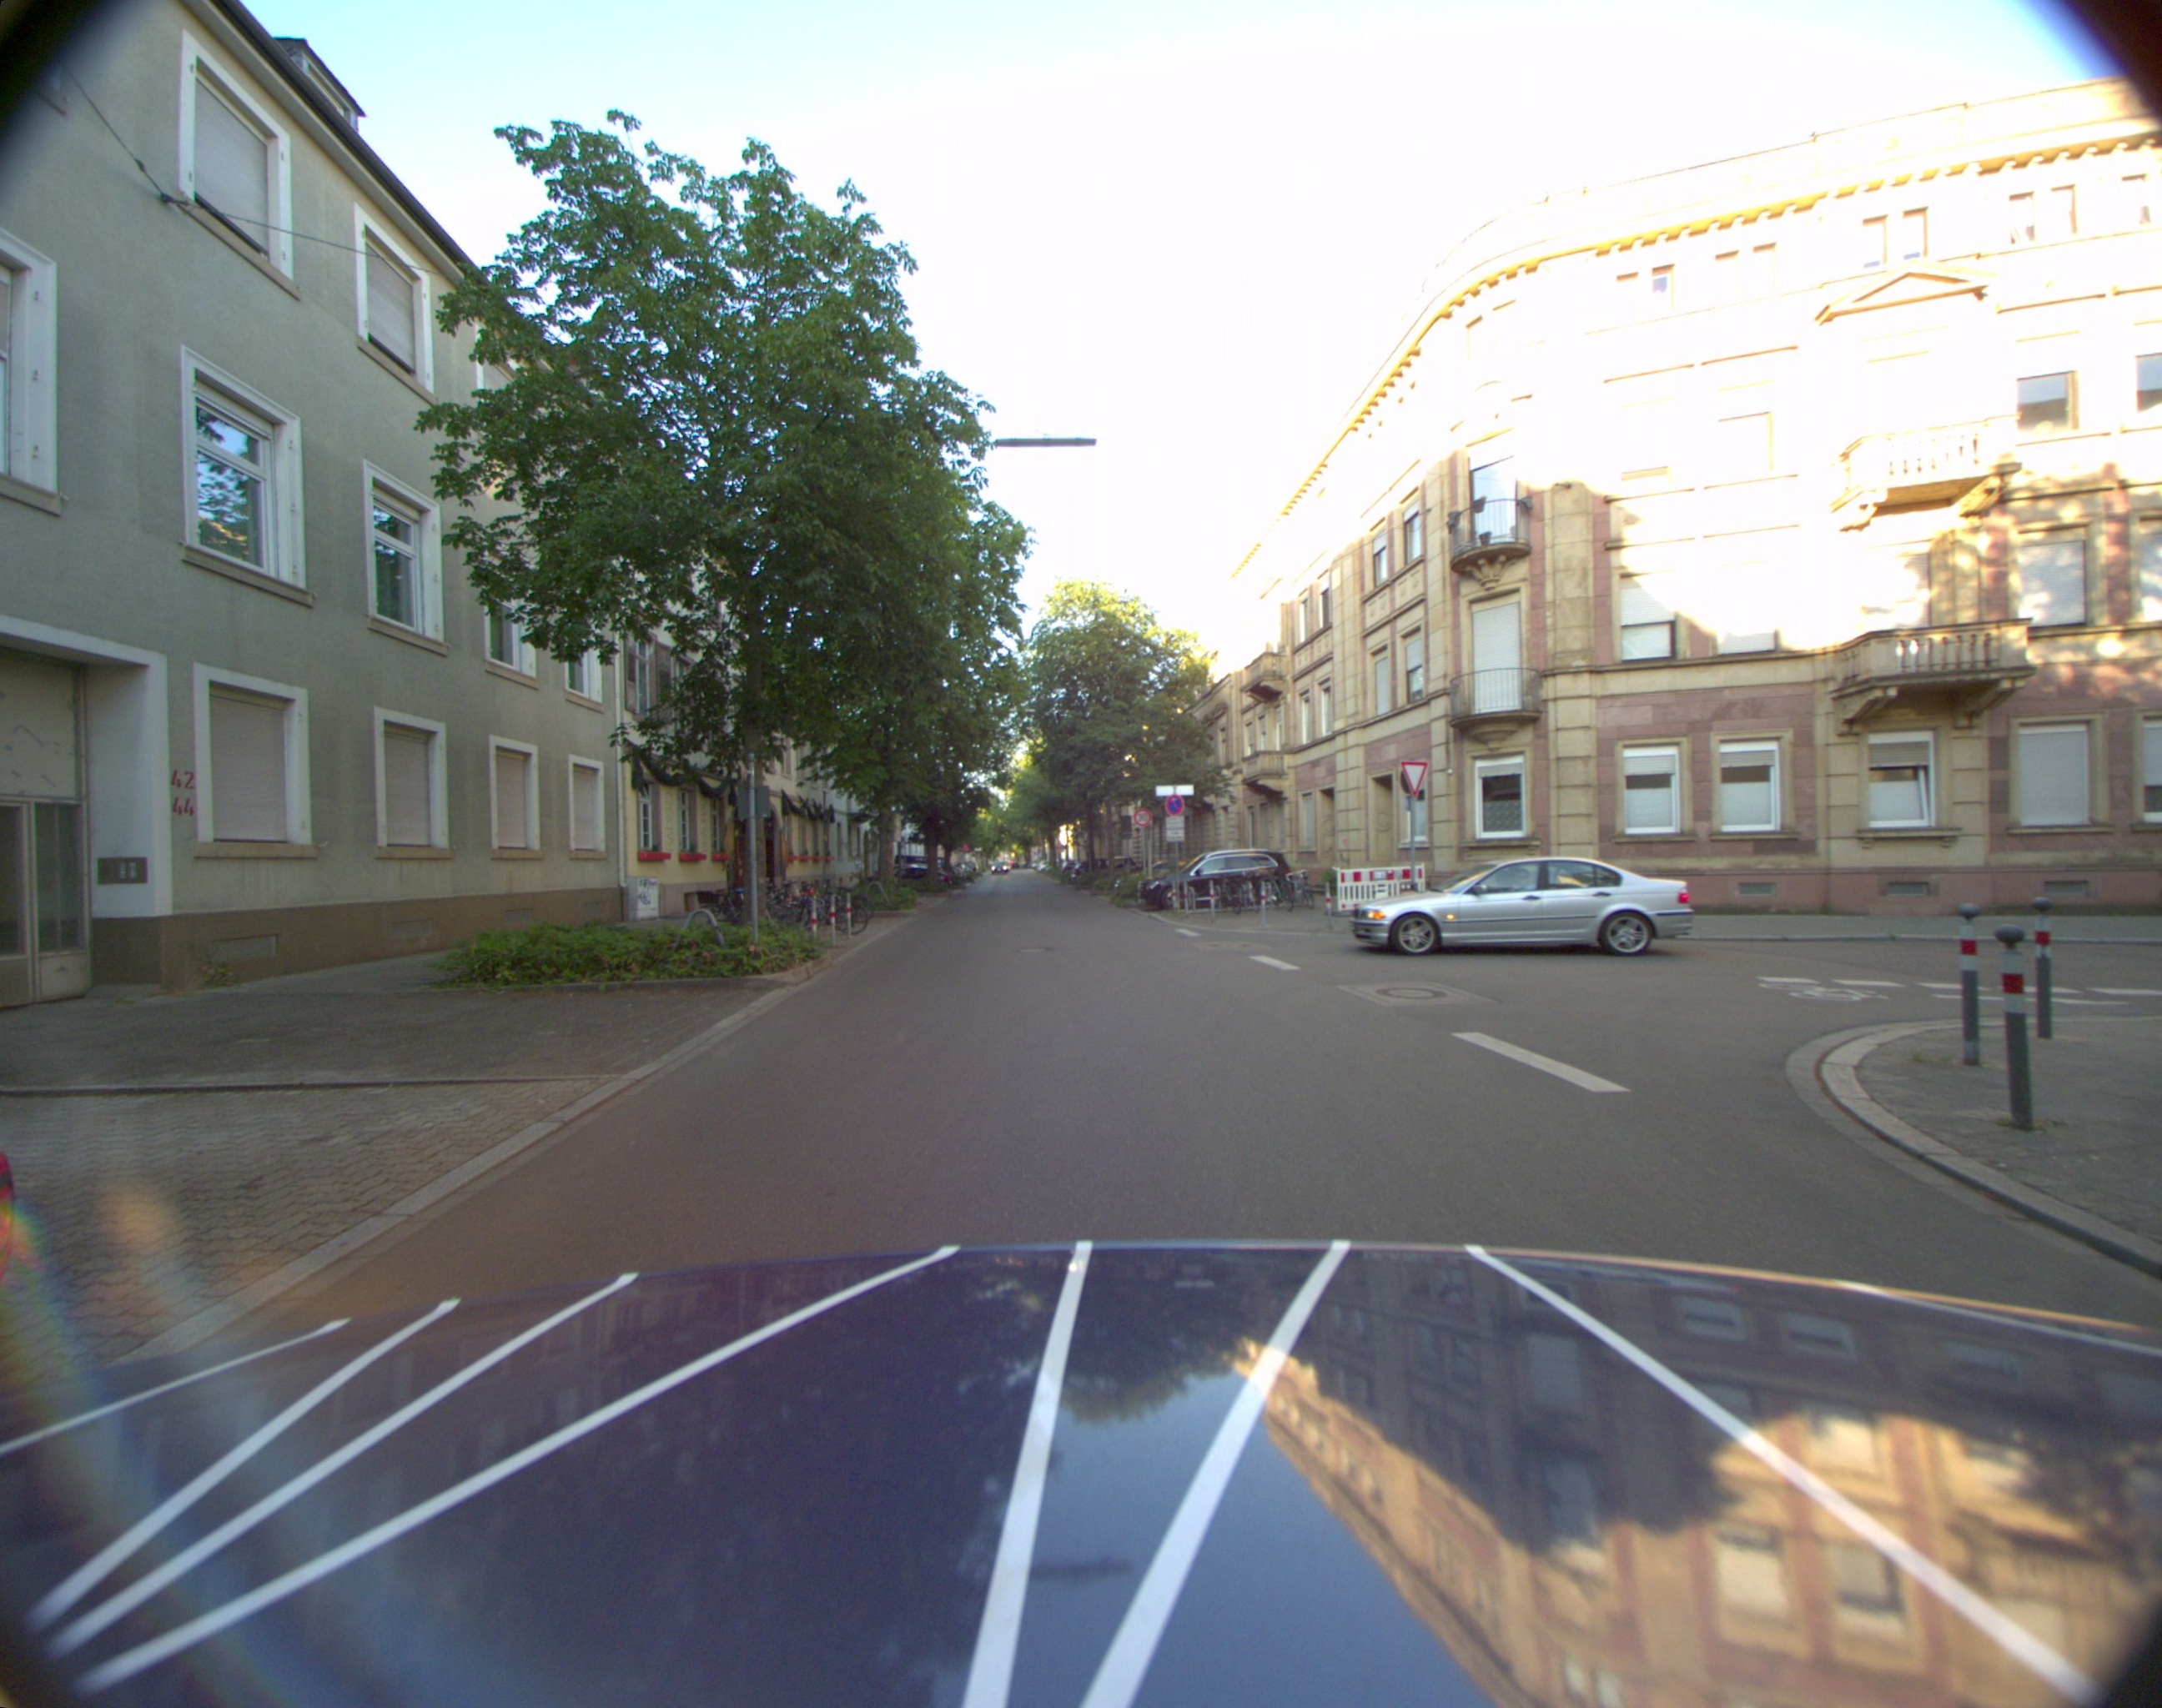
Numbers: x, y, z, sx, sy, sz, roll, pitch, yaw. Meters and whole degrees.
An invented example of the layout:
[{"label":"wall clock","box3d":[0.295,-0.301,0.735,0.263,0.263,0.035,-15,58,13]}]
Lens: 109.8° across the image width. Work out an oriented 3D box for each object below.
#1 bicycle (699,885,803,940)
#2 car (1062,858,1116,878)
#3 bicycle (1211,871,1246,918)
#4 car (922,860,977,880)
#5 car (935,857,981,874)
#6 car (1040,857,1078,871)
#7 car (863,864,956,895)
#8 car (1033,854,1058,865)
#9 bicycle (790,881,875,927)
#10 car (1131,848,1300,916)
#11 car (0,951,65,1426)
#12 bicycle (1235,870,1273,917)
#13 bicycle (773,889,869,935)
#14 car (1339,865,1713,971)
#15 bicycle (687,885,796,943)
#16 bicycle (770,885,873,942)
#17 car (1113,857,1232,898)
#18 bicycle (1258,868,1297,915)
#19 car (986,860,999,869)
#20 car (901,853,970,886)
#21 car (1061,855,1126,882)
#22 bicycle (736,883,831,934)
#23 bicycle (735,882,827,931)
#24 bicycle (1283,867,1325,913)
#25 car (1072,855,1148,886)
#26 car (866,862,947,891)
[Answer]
[{"label":"bicycle","box3d":[-7.275,1.275,16.804,2.042,1.139,0.421,-1,0,-6]},{"label":"car","box3d":[0.617,1.090,59.165,4.032,1.474,1.776,-1,0,-4]},{"label":"bicycle","box3d":[3.807,1.030,19.755,0.364,1.083,1.869,-3,1,-5]},{"label":"car","box3d":[-11.095,1.325,64.445,4.444,1.603,1.776,-1,0,-4]},{"label":"car","box3d":[-12.590,1.183,77.787,4.444,1.603,1.776,-1,0,-4]},{"label":"car","box3d":[-2.700,1.187,91.738,4.444,1.638,1.776,-1,0,-4]},{"label":"car","box3d":[-8.892,1.324,39.687,4.444,1.496,1.776,-1,0,-4]},{"label":"car","box3d":[-6.029,0.899,128.513,4.001,1.753,1.998,-1,0,-12]},{"label":"bicycle","box3d":[-6.485,1.305,19.909,2.042,1.139,0.421,-1,0,-6]},{"label":"car","box3d":[3.930,0.794,22.660,4.590,1.728,1.775,-3,1,-4]},{"label":"car","box3d":[-5.127,1.067,1.527,3.667,1.467,1.565,0,0,-7]},{"label":"bicycle","box3d":[4.483,0.993,19.782,0.364,1.083,1.869,-3,1,-5]},{"label":"bicycle","box3d":[-6.049,1.342,17.737,2.042,0.998,0.421,-1,0,-6]},{"label":"car","box3d":[6.283,0.889,11.274,4.463,1.395,1.684,-1,-1,12]},{"label":"bicycle","box3d":[-7.054,1.244,15.833,2.041,1.139,0.446,-1,0,-2]},{"label":"bicycle","box3d":[-5.603,1.277,16.462,2.041,1.139,0.446,-1,0,-5]},{"label":"car","box3d":[3.581,0.911,30.227,4.444,1.478,1.776,-1,0,-4]},{"label":"bicycle","box3d":[5.095,0.954,19.813,0.364,1.083,1.869,-3,1,-5]},{"label":"car","box3d":[-13.057,1.538,112.305,1.828,1.364,3.998,-1,0,-5]},{"label":"car","box3d":[-9.932,1.051,52.182,4.444,2.110,1.776,-1,0,-4]},{"label":"car","box3d":[0.849,1.017,53.472,4.444,1.728,1.776,-1,0,-4]},{"label":"bicycle","box3d":[-7.069,1.287,18.124,2.042,1.139,0.421,-1,0,-6]},{"label":"bicycle","box3d":[-7.393,1.290,18.766,2.042,1.139,0.421,-1,0,-6]},{"label":"bicycle","box3d":[5.814,0.918,19.917,0.364,1.083,1.869,-3,1,-5]},{"label":"car","box3d":[1.756,0.998,46.503,4.444,1.728,1.776,-1,0,-4]},{"label":"car","box3d":[-10.313,1.316,45.147,4.444,1.603,1.776,-1,0,-4]}]
